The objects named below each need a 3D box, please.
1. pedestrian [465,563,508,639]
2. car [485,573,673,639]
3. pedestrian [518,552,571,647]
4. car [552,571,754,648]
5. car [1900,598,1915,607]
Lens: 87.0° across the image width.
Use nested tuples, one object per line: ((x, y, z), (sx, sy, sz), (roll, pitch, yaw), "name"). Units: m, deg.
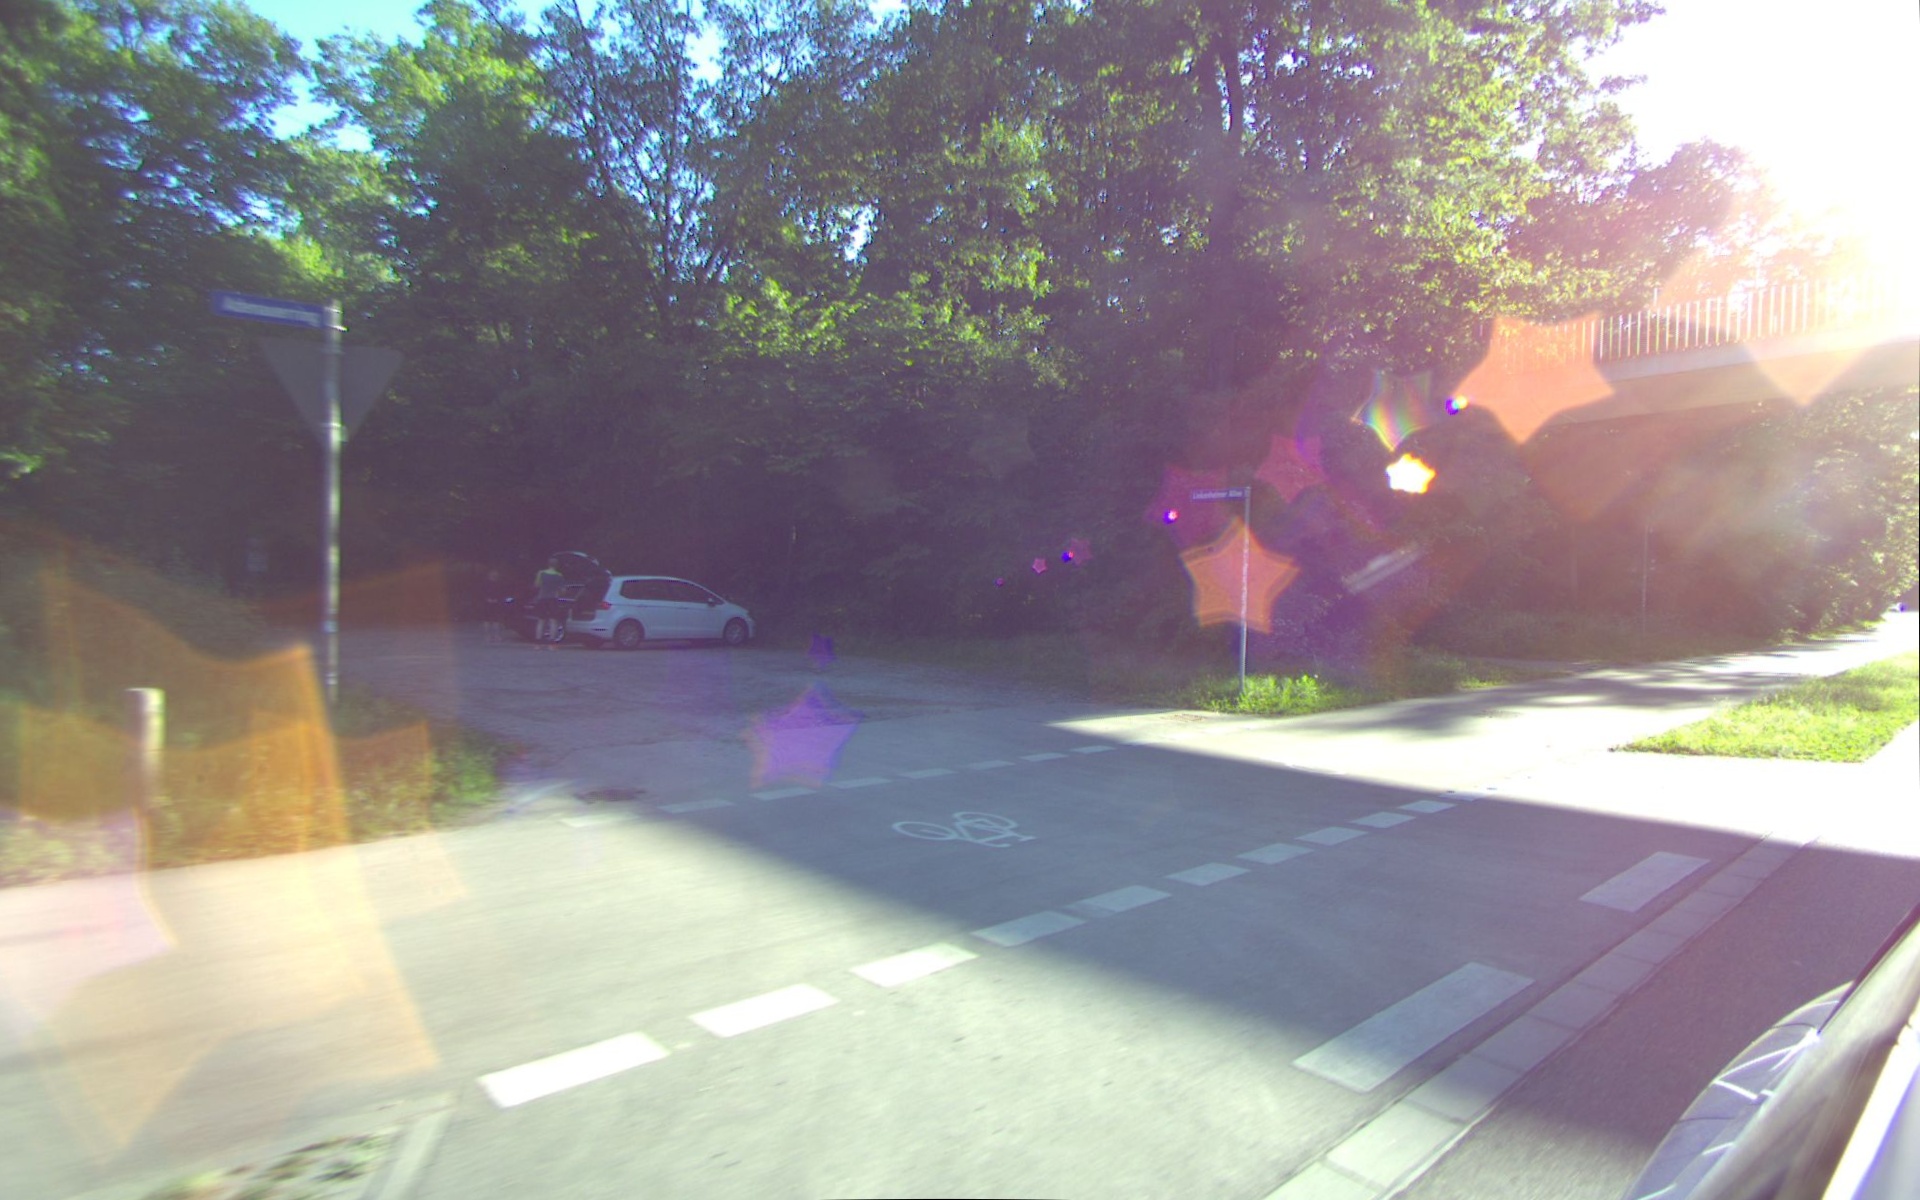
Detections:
((-10.766, 0.013, 23.021), (0.709, 1.674, 0.662), (1, 1, 44), "pedestrian")
((-9.244, 0.117, 24.761), (1.769, 1.478, 3.937), (2, 1, 44), "car")
((-8.422, -0.017, 20.530), (0.830, 1.896, 0.603), (1, 0, -40), "pedestrian")
((-6.705, 0.185, 22.369), (1.737, 1.544, 3.936), (1, 0, 44), "car")
((172.002, 0.420, 183.741), (1.820, 1.705, 3.940), (1, 1, 42), "car")
